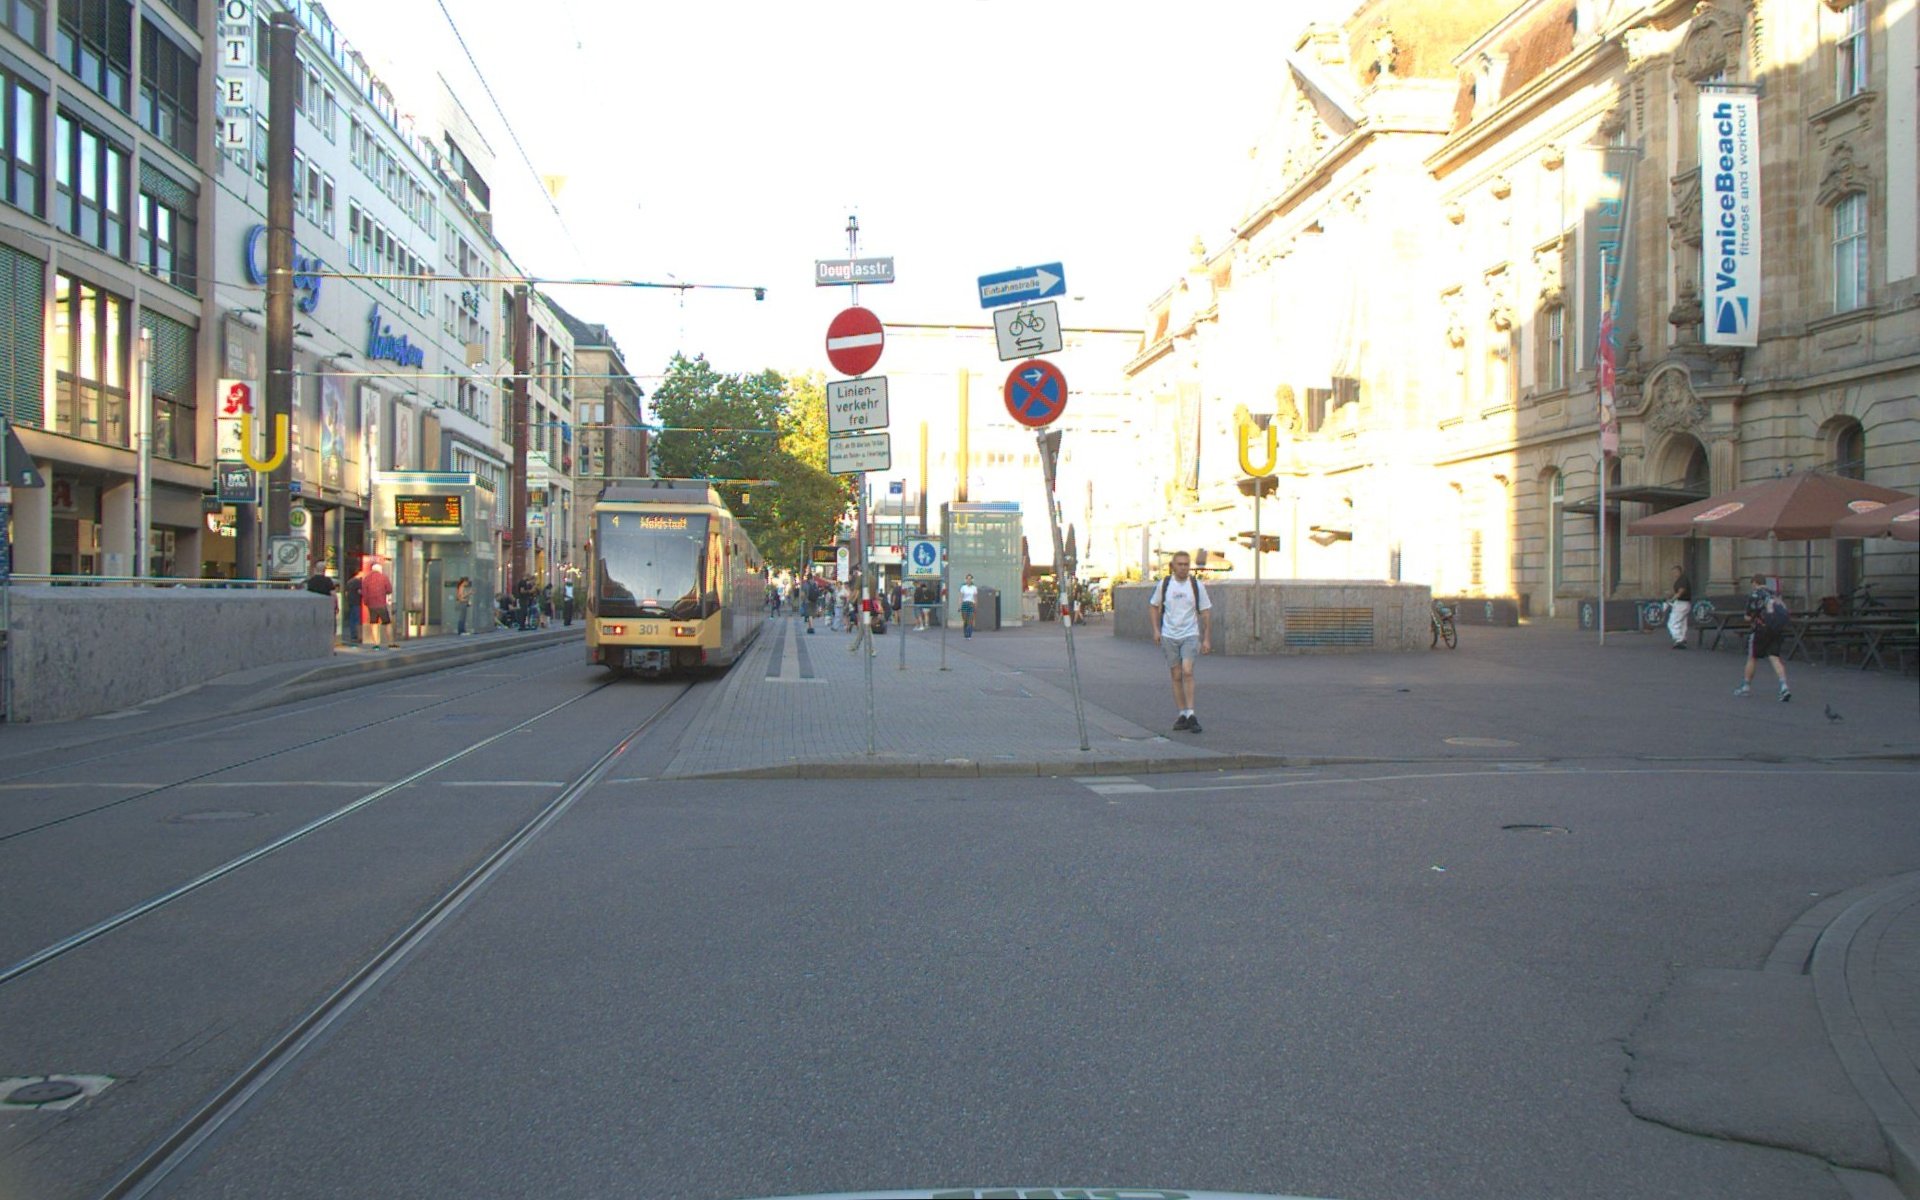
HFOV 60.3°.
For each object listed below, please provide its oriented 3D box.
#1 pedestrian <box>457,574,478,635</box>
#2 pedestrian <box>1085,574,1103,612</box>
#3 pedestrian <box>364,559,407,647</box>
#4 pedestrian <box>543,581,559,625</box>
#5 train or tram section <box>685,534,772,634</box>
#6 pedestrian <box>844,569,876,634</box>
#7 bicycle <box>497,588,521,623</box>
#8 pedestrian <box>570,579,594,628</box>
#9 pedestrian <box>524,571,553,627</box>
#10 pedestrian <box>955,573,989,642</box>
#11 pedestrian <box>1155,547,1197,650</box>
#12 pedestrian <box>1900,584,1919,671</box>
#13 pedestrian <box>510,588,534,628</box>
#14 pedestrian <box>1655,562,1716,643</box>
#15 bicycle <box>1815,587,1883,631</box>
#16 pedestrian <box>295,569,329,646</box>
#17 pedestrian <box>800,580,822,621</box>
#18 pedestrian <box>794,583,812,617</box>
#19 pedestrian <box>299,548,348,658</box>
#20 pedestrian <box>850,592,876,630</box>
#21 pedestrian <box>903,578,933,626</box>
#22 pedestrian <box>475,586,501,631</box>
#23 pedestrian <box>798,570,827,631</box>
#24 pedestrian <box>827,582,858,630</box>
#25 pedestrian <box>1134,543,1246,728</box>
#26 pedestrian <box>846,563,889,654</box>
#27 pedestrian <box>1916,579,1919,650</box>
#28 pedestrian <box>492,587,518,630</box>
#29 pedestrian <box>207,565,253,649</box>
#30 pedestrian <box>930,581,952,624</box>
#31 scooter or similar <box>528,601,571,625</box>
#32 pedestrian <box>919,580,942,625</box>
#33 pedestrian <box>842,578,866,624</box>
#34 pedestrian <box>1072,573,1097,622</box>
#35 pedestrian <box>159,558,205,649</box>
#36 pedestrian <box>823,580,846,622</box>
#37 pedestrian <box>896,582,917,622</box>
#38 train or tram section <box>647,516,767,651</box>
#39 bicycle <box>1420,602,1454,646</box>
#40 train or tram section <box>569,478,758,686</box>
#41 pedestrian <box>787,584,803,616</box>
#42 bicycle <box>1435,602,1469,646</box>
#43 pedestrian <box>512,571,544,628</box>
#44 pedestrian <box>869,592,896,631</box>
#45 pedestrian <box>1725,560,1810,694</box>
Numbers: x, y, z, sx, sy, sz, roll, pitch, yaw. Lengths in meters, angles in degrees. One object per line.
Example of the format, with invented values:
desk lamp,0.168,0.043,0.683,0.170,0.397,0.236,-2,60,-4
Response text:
pedestrian,-13.379,0.124,44.937,0.502,1.646,0.503,0,-1,-15
pedestrian,6.628,-0.336,81.846,0.758,1.856,0.848,0,0,-9
pedestrian,-11.418,0.065,32.885,0.701,1.727,0.784,0,-1,-12
pedestrian,-16.218,0.114,65.592,0.590,1.757,0.606,0,-1,-13
train or tram section,-8.641,-0.595,63.125,2.746,3.377,14.490,0,0,-6
pedestrian,-2.889,0.033,47.713,0.723,1.855,0.815,0,0,-20
bicycle,-15.464,0.189,56.721,0.428,1.162,1.602,0,0,-29
pedestrian,-13.760,0.129,60.221,0.758,1.756,0.708,0,-1,-6
pedestrian,-13.438,-0.034,52.739,0.701,1.756,0.766,1,-1,-35
pedestrian,0.328,0.208,45.308,0.759,1.855,0.938,-1,0,-9
pedestrian,4.387,-0.034,33.652,0.754,2.049,0.918,1,0,3
pedestrian,16.098,0.455,27.264,0.786,1.407,0.653,1,2,5
pedestrian,-15.317,0.284,57.880,0.693,1.403,0.719,0,-1,-7
pedestrian,14.525,0.046,33.120,0.830,1.593,0.850,0,2,0
bicycle,18.880,0.185,35.131,1.294,0.909,0.409,-1,1,-10
pedestrian,-13.768,0.157,35.127,0.593,1.616,0.626,0,-1,-15
pedestrian,-6.204,0.017,68.982,0.750,1.690,0.795,0,0,6
pedestrian,-7.917,0.017,83.339,0.775,1.690,0.770,0,0,6
pedestrian,-11.457,0.053,29.794,0.701,1.959,0.707,0,-1,-11
pedestrian,-3.172,0.362,54.250,0.777,1.243,0.767,0,0,-9
pedestrian,-1.499,0.073,58.963,0.781,1.690,0.764,1,0,43
pedestrian,-14.962,0.280,52.455,0.693,1.403,0.719,0,-1,-7
pedestrian,-4.571,0.011,51.306,0.723,1.855,0.815,0,0,-20
pedestrian,-3.975,0.208,56.076,0.751,1.606,0.794,0,0,24
pedestrian,2.430,0.368,17.594,0.993,1.896,1.042,1,0,-3
pedestrian,-1.810,0.172,32.364,0.706,1.756,0.706,0,-1,-17
pedestrian,18.395,0.289,30.965,0.581,1.331,0.581,1,2,-10
pedestrian,-15.007,0.283,54.560,0.693,1.403,0.719,0,-1,-7
pedestrian,-14.295,0.143,32.381,0.594,1.616,0.624,-1,-1,42
pedestrian,-0.748,0.100,65.746,0.775,1.690,0.770,0,0,6
scooter or similar,-14.412,0.450,58.061,0.547,0.845,1.521,0,-1,33
pedestrian,-1.104,0.087,62.078,0.775,1.690,0.770,0,0,6
pedestrian,-3.949,0.037,61.641,0.775,1.690,0.770,0,0,6
pedestrian,4.748,-0.101,63.276,0.831,1.855,0.775,0,0,-5
pedestrian,-15.071,0.070,32.049,0.594,1.756,0.625,-1,-1,41
pedestrian,-5.035,0.028,66.340,0.775,1.690,0.770,0,0,6
pedestrian,-2.258,0.082,69.647,0.775,1.690,0.770,0,0,6
train or tram section,-7.178,-0.472,48.695,2.746,3.377,14.490,0,0,-6
bicycle,9.869,0.491,34.241,0.309,0.882,0.999,-1,0,-7
train or tram section,-5.718,-0.346,34.234,2.746,3.377,14.490,0,0,-6
pedestrian,-8.884,0.009,89.005,0.750,1.690,0.795,0,0,3
bicycle,10.186,0.496,34.276,0.309,0.882,0.999,-1,0,-7
pedestrian,-13.304,-0.012,50.921,0.702,1.756,0.765,1,-1,-36
pedestrian,-2.507,0.372,53.511,0.777,1.243,0.767,0,0,-9
pedestrian,11.396,0.365,23.356,0.792,1.855,0.806,0,1,-1
